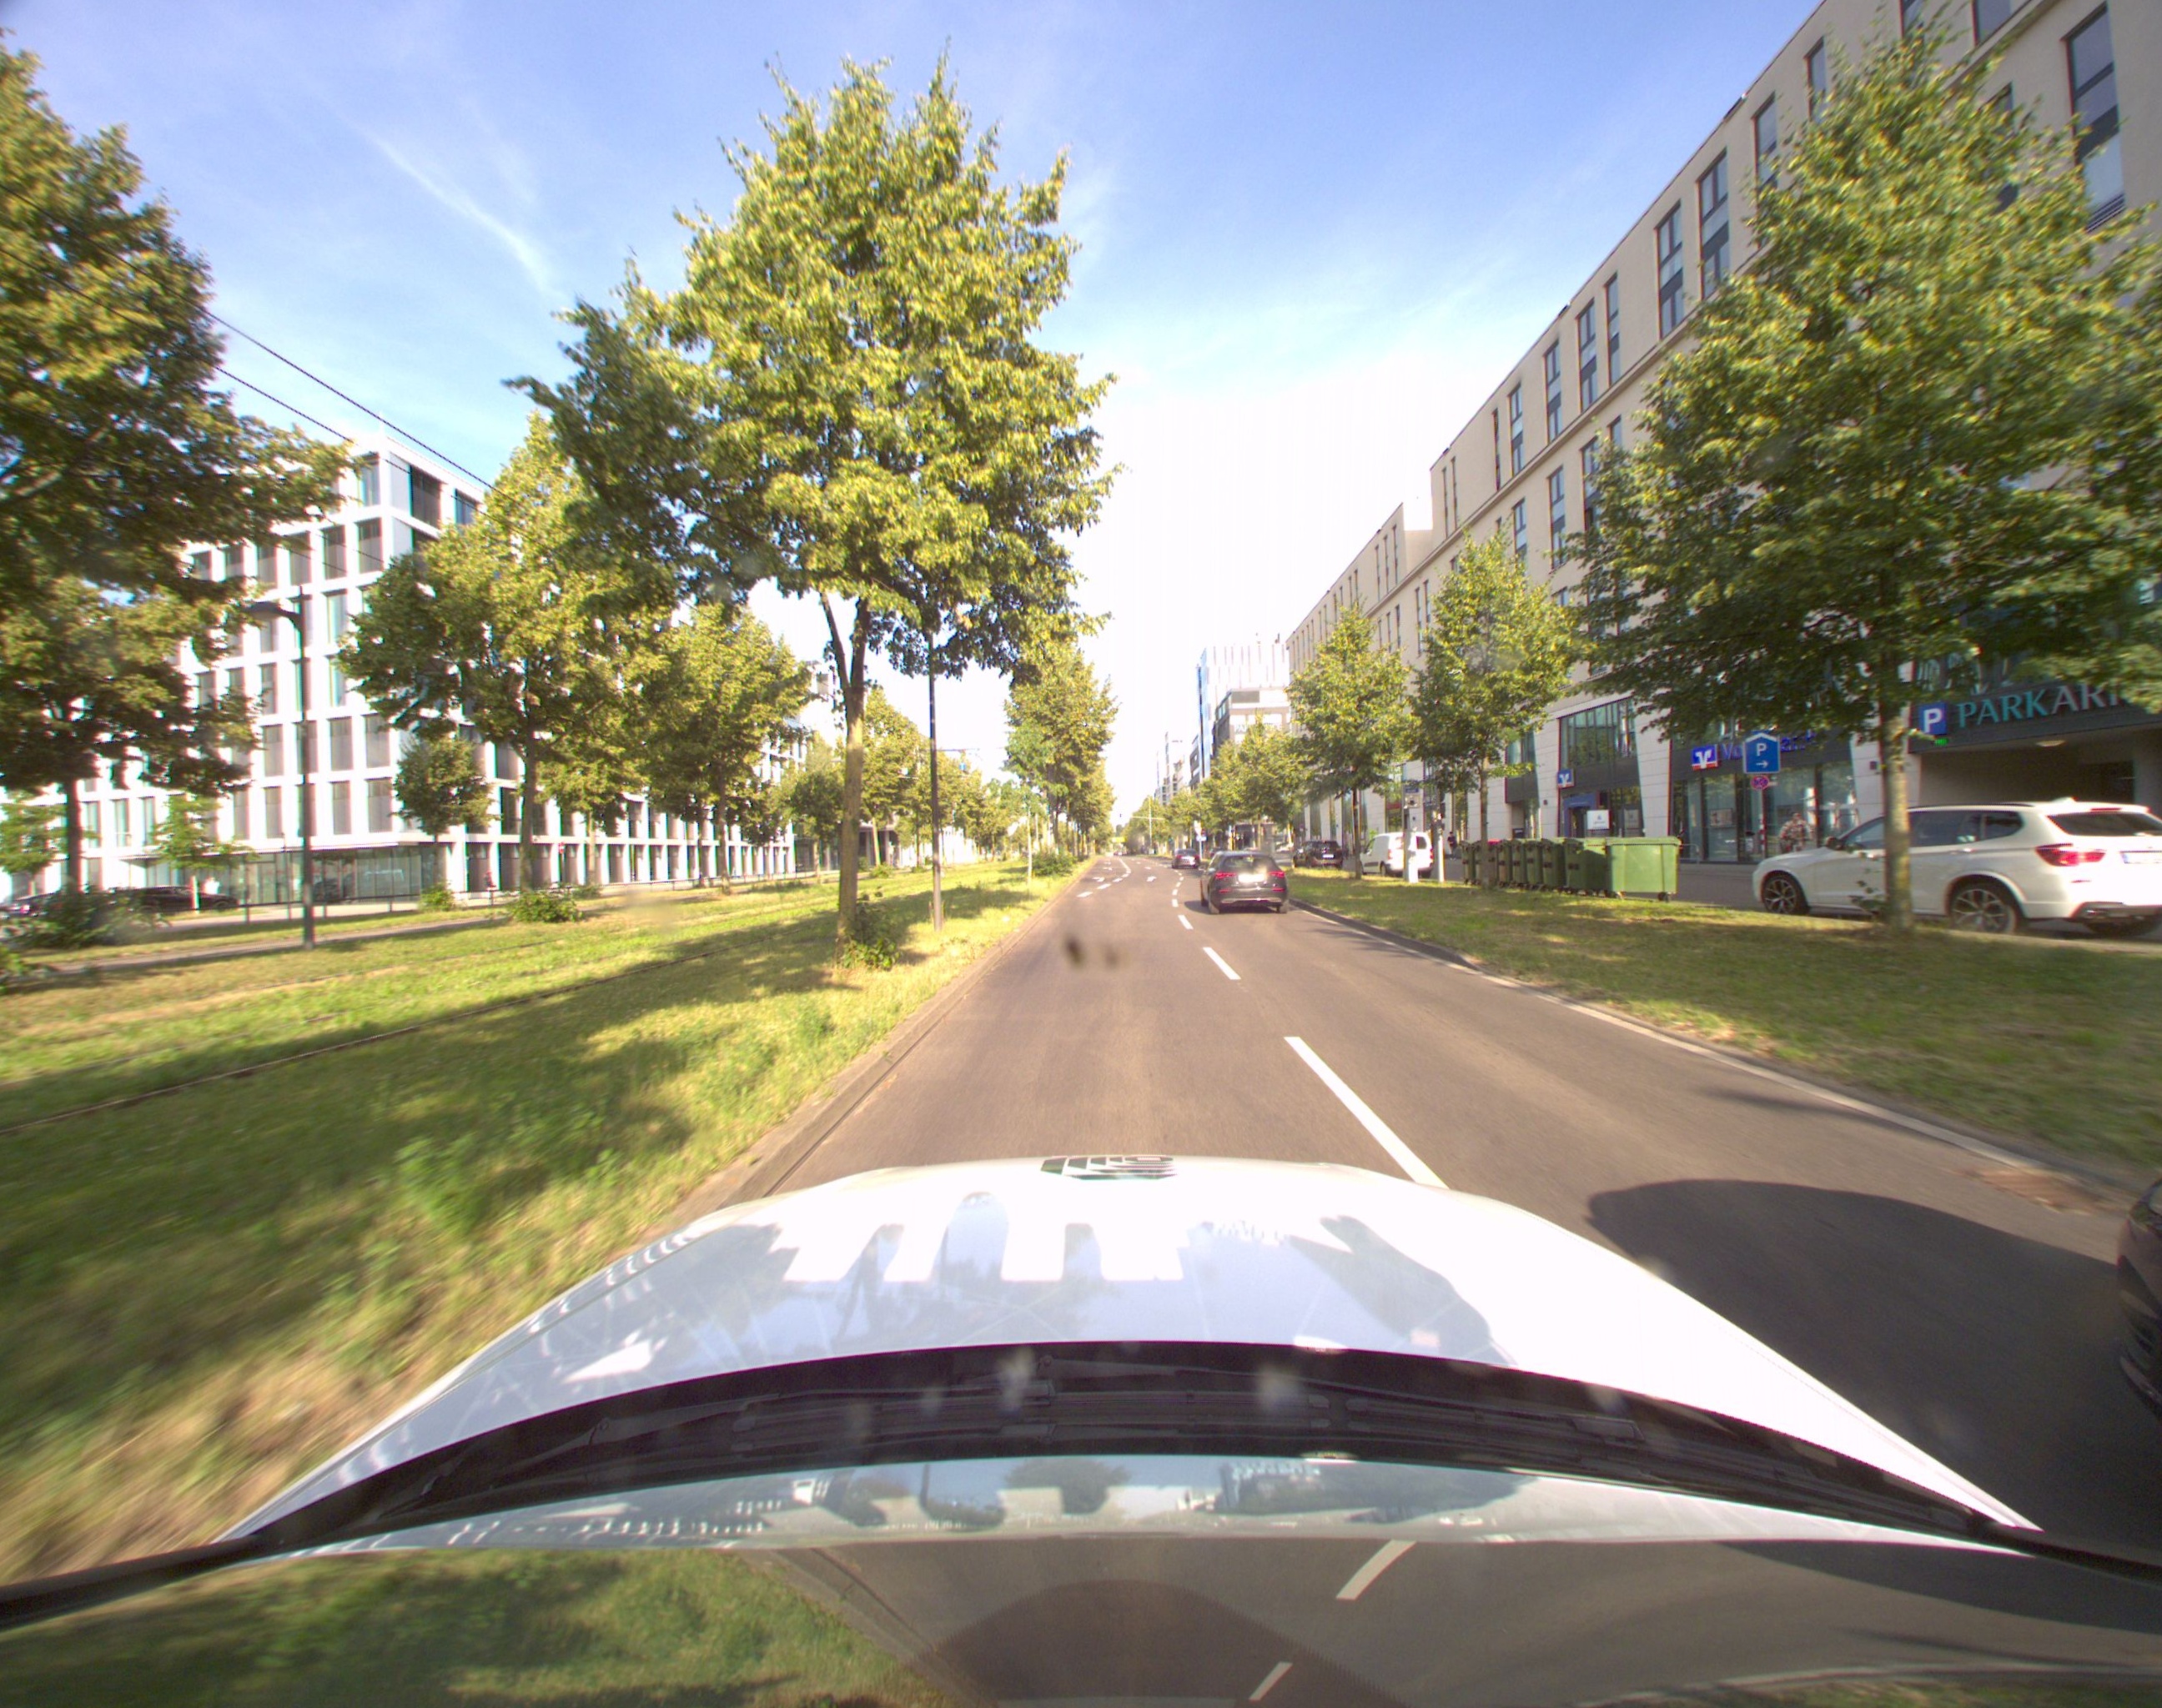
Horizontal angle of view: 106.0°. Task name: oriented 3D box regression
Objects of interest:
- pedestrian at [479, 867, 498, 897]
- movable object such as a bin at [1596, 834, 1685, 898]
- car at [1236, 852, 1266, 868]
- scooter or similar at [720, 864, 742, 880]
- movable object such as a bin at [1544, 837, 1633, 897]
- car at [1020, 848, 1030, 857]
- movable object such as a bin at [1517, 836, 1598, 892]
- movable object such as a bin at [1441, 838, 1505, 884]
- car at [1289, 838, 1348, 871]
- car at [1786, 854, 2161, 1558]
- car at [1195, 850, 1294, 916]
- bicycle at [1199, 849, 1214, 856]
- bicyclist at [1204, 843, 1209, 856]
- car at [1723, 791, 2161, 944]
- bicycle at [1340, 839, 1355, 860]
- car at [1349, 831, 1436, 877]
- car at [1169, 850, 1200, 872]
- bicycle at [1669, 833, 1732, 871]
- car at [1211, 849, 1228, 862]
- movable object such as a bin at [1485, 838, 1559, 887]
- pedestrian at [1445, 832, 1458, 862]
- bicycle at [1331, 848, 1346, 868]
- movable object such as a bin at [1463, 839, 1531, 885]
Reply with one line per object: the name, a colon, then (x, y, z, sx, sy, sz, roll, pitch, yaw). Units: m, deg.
pedestrian: (-34.491, 1.617, 47.384, 0.565, 1.728, 0.692, 0, -1, 1)
movable object such as a bin: (11.498, 0.240, 16.821, 1.385, 1.237, 1.344, 0, -1, 29)
car: (13.598, 0.503, 65.252, 1.702, 1.242, 3.906, 0, 0, 1)
scooter or similar: (-33.215, 1.722, 77.272, 1.919, 1.477, 0.415, 0, -1, 5)
movable object such as a bin: (11.395, 0.280, 18.336, 1.274, 1.302, 1.191, 0, 0, -2)
car: (-11.112, -0.215, 161.651, 1.679, 1.775, 3.880, 0, 0, -2)
movable object such as a bin: (11.492, 0.239, 19.686, 1.274, 1.317, 1.191, 0, 0, -2)
movable object such as a bin: (11.371, 0.195, 23.683, 1.274, 1.291, 1.177, 0, 0, -2)
car: (12.909, -0.009, 44.594, 1.891, 1.708, 4.678, 0, 1, 0)
car: (2.933, 0.706, 0.586, 1.554, 1.424, 3.908, 0, 0, 2)
car: (3.806, 0.634, 19.573, 1.767, 1.424, 3.963, 0, 0, 2)
bicycle: (17.412, -0.169, 112.994, 2.128, 1.013, 0.571, 0, -1, -2)
bicyclist: (17.367, -0.605, 113.002, 0.573, 1.707, 0.540, 0, -1, -2)
car: (11.736, 0.132, 11.317, 1.725, 1.630, 4.848, -2, 0, -1)
bicycle: (20.651, -0.313, 63.187, 0.553, 1.567, 2.214, 0, -1, 3)
car: (12.302, 0.014, 32.469, 1.821, 1.711, 4.294, 0, 0, -1)
car: (7.246, 0.485, 57.314, 1.852, 1.524, 3.787, 0, 0, 2)
bicycle: (19.160, -0.044, 25.240, 0.490, 1.116, 1.946, -2, 0, 2)
car: (14.707, 0.145, 86.588, 1.598, 1.370, 4.165, 0, 0, 7)
movable object such as a bin: (11.394, 0.224, 21.085, 1.274, 1.237, 1.191, 0, 0, -2)
pedestrian: (22.262, -0.413, 48.923, 0.535, 1.763, 0.647, 0, -1, 2)
bicycle: (20.811, 0.340, 65.800, 0.553, 1.571, 2.277, 0, -1, 3)
movable object such as a bin: (11.389, 0.210, 22.338, 1.274, 1.237, 1.191, 0, 0, -2)
